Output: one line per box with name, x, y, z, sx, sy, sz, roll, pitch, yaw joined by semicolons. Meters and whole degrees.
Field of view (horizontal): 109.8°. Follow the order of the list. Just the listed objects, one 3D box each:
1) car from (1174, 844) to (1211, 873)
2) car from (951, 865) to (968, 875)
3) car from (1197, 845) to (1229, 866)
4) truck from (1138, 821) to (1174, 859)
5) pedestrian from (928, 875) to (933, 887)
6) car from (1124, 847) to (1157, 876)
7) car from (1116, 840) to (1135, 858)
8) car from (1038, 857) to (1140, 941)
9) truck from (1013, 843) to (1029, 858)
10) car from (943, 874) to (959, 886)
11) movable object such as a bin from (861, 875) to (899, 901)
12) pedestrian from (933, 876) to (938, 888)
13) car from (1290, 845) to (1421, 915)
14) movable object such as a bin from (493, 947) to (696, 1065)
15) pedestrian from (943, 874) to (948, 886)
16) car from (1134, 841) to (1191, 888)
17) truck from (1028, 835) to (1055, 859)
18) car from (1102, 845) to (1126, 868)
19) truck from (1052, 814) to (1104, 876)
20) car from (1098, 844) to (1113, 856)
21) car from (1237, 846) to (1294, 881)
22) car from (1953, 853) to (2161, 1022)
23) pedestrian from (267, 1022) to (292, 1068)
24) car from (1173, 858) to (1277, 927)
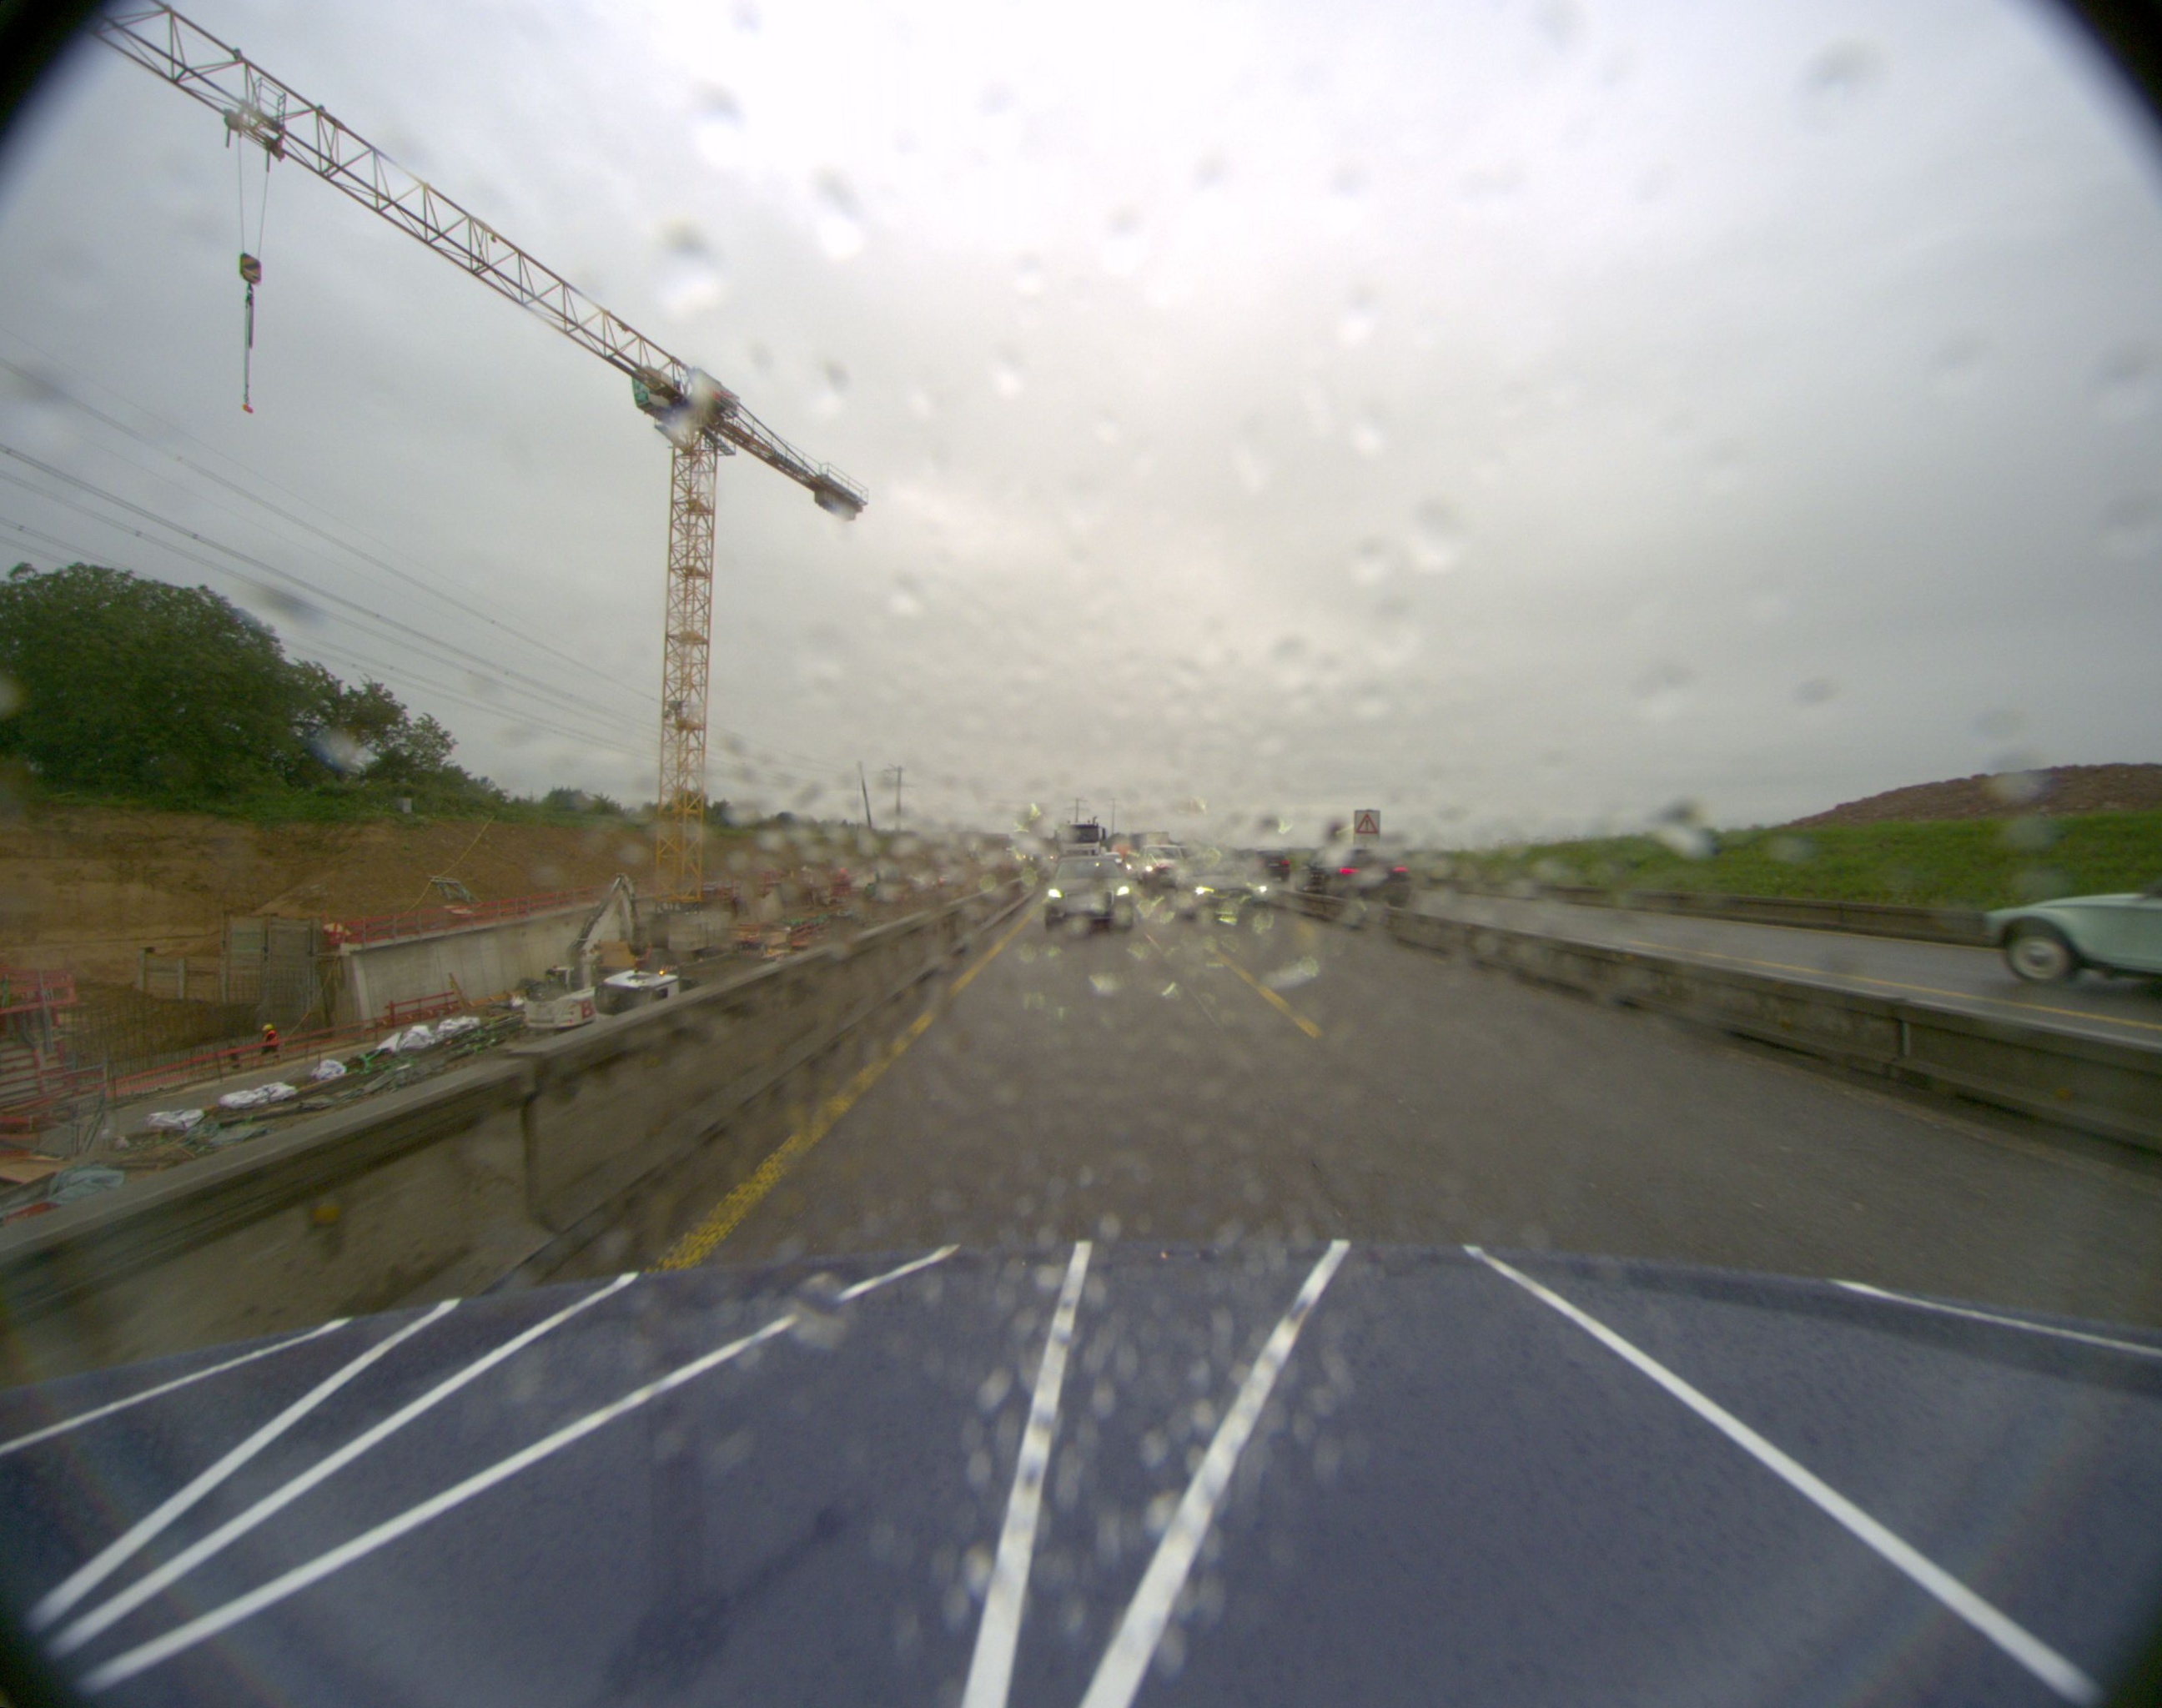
car;7.125;0.252;48.920;1.771;1.782;3.999;-2;1;1
car;-22.953;3.034;143.689;2.350;1.609;4.858;0;1;0
car;10.257;0.113;59.158;1.771;1.532;3.999;-2;1;1
truck;8.635;-1.632;88.826;3.227;4.072;9.201;-2;1;1
pedestrian;-22.495;4.032;113.340;0.614;1.848;0.667;1;2;2
car;3.524;0.433;45.359;1.626;1.583;3.999;-2;1;1
car;5.131;-0.583;88.186;1.859;1.926;3.999;-2;1;1
car;0.179;0.859;16.396;1.874;1.481;4.260;-1;1;1
truck;-16.304;-0.925;208.027;3.545;3.871;8.334;-2;1;1
car;-20.983;4.169;122.632;1.859;1.609;4.079;0;1;0
movable object such as a bin;-25.461;4.297;96.583;3.500;2.866;3.999;5;1;0
pedestrian;-21.749;4.167;113.459;0.614;1.671;0.603;-2;1;2
car;7.066;0.600;20.079;1.947;1.584;4.308;-1;1;1
movable object such as a bin;-20.230;6.190;32.245;3.514;3.405;6.655;-1;2;10
pedestrian;-20.901;3.998;117.160;0.614;1.671;0.603;-2;1;2
car;3.631;0.391;34.805;2.069;1.934;5.155;-1;1;1
truck;-8.094;-1.411;152.439;4.320;4.319;13.398;-2;1;-7
car;2.693;0.194;62.193;1.789;1.744;3.999;-2;1;1
truck;-0.025;-0.578;47.491;2.855;3.463;8.643;-1;1;2
car;3.609;-0.617;111.528;1.998;1.670;3.999;-2;1;1
car;9.508;0.438;39.476;1.825;1.616;4.752;-2;1;1
car;10.133;0.752;6.366;1.361;1.456;3.716;0;1;1
pedestrian;-32.534;7.732;30.835;0.489;1.750;0.481;1;2;1
car;3.375;0.853;18.541;1.804;1.375;4.087;-1;1;1
